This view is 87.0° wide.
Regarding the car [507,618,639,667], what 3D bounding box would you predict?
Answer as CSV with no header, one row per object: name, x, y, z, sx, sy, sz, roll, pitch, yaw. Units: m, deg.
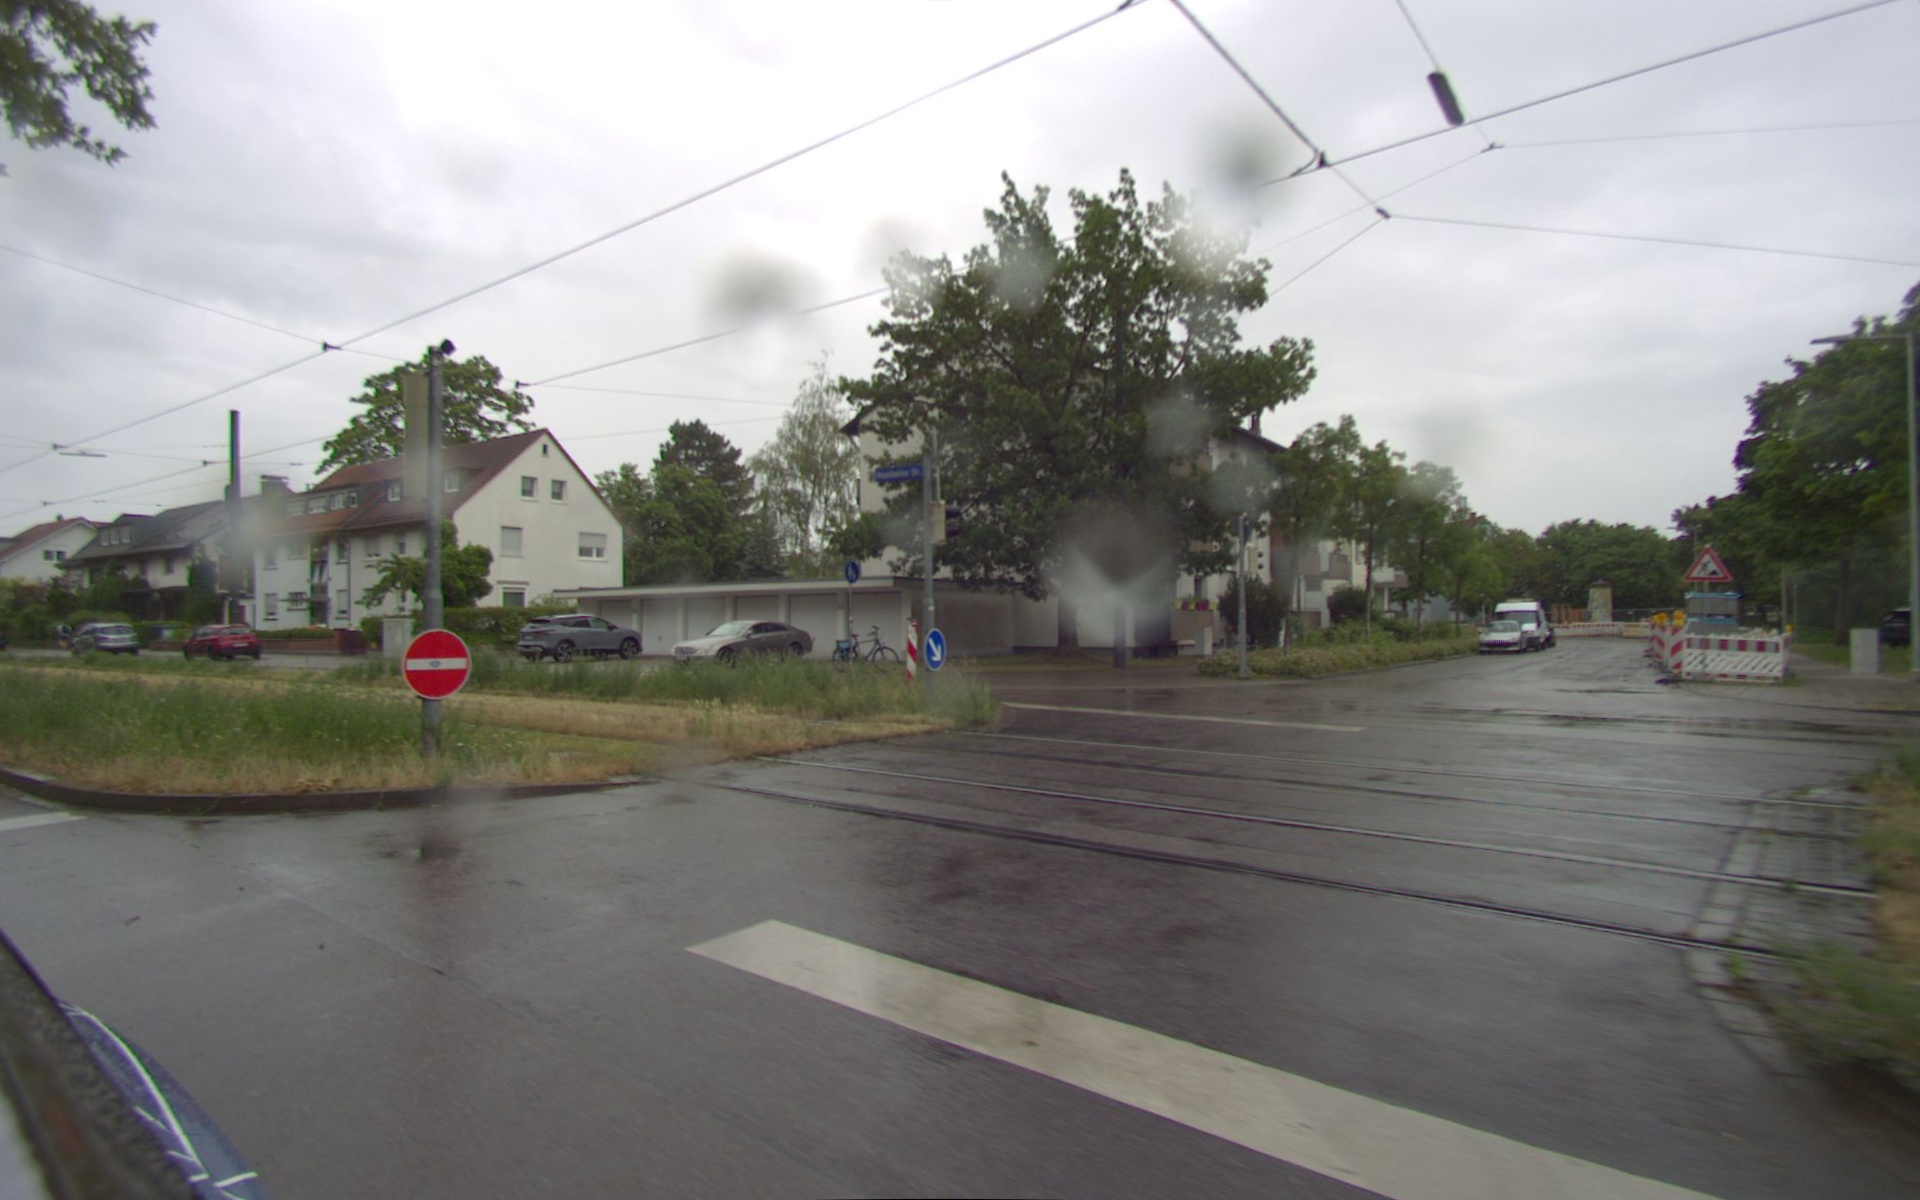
car,-13.365,1.458,35.113,1.887,1.588,3.955,-2,-2,33

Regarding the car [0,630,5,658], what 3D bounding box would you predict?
car,-61.459,2.760,63.094,4.170,1.719,1.829,-2,-1,33

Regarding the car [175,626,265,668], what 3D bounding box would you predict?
car,-30.827,1.936,42.150,3.964,1.558,1.826,-2,1,35

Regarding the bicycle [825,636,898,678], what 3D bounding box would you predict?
bicycle,-2.568,1.485,26.440,1.821,1.026,0.481,-2,1,10

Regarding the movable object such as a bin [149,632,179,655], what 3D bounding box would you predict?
movable object such as a bin,-46.228,2.509,58.775,0.737,1.307,1.174,-2,-1,35

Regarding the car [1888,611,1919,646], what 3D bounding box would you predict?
car,36.395,1.023,36.895,3.686,1.258,1.667,0,-2,-4

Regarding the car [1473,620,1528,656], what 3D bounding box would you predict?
car,23.690,1.660,44.313,1.748,1.542,3.587,-2,-3,34

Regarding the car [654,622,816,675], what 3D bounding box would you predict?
car,-6.651,1.406,30.384,1.845,1.376,4.682,-2,-1,36

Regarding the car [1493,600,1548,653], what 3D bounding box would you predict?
car,27.366,1.316,49.362,1.912,2.465,4.419,-2,-3,34

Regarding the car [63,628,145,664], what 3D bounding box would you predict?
car,-41.993,2.220,49.645,4.673,1.626,1.976,-2,-1,35

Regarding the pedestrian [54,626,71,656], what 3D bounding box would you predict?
pedestrian,-54.274,2.447,61.181,0.867,1.781,0.593,-2,-1,34
